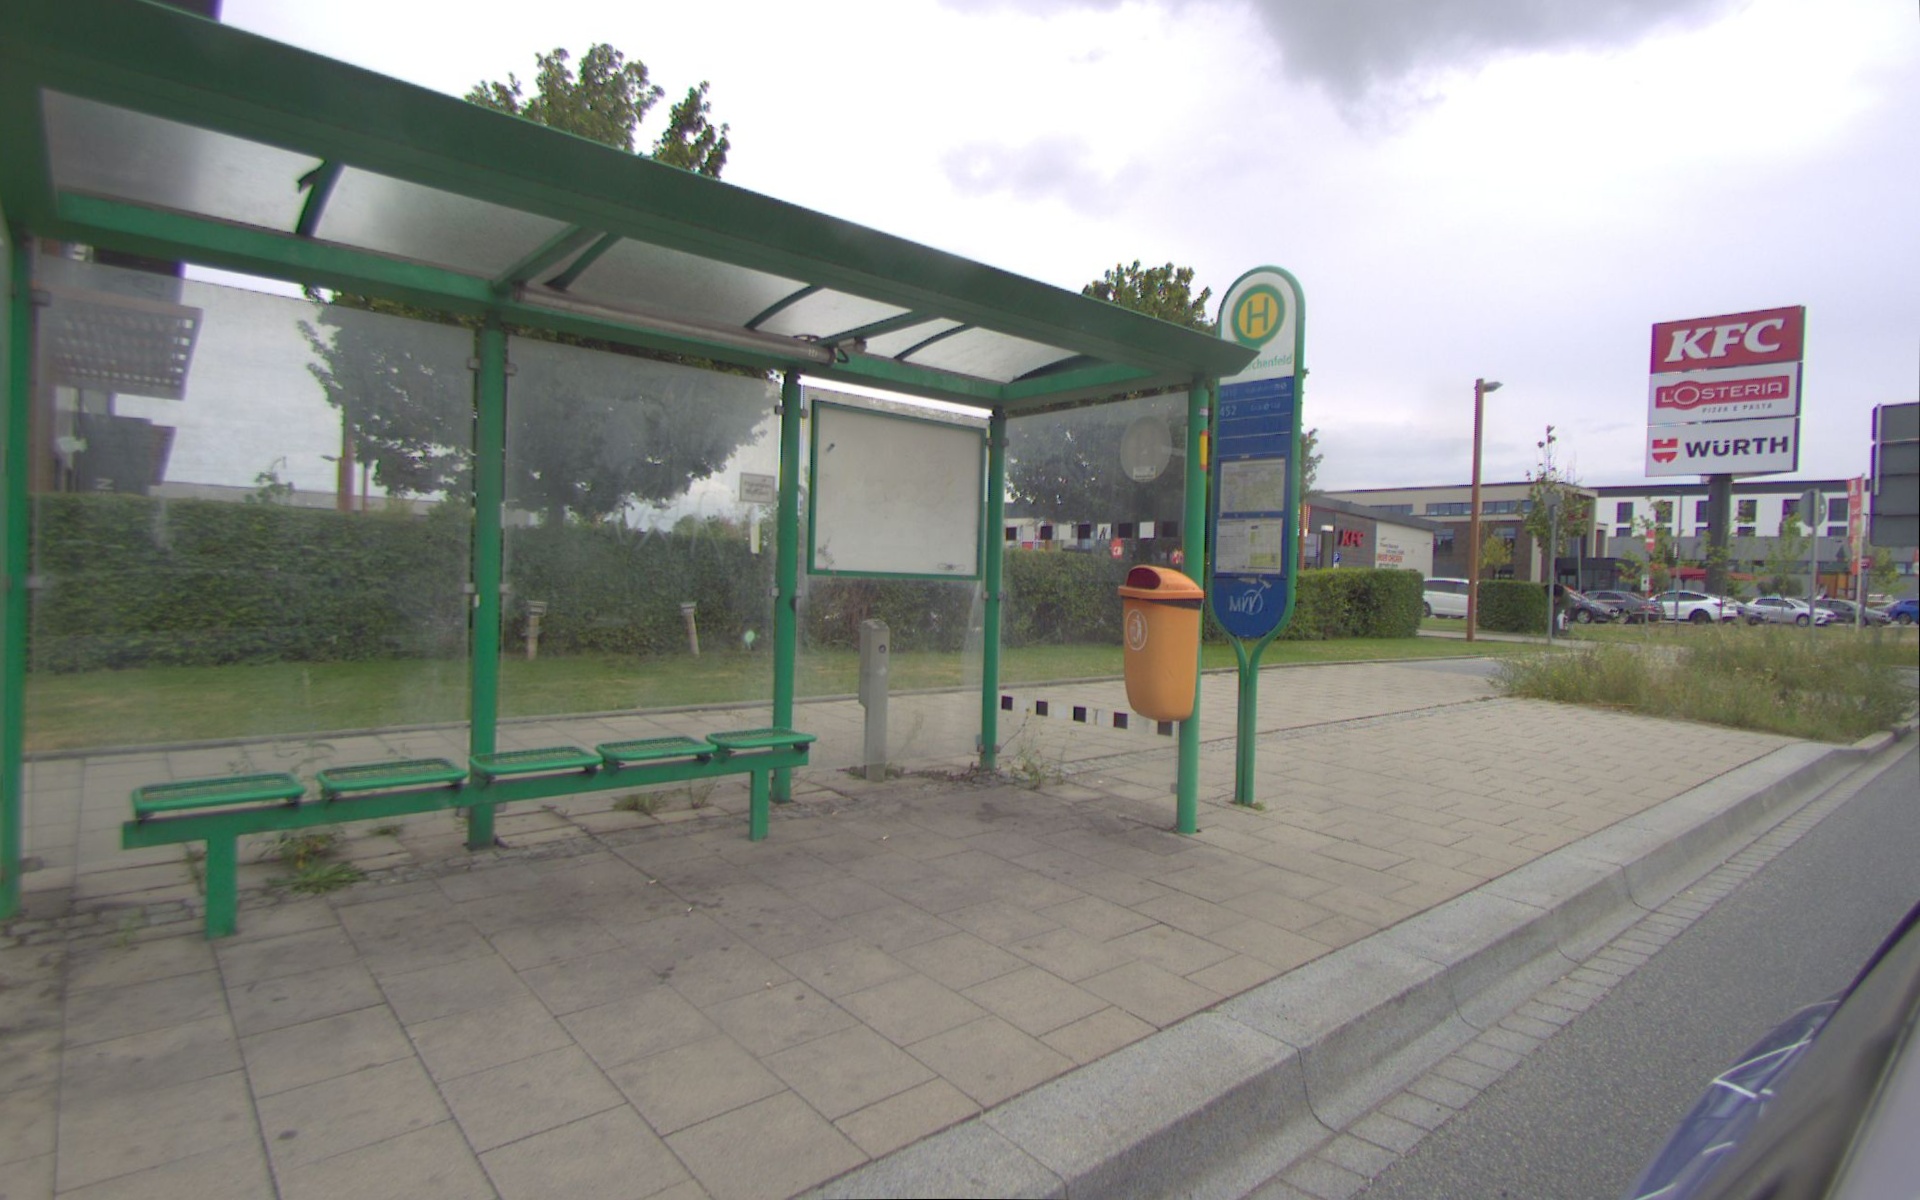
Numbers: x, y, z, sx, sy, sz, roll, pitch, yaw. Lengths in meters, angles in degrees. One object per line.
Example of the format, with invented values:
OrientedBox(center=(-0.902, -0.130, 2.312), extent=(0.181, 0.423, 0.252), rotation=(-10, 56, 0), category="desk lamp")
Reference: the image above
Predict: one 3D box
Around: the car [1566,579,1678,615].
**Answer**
OrientedBox(center=(30.985, -0.154, 47.446), extent=(1.811, 1.631, 4.003), rotation=(0, 0, -32), category="car")

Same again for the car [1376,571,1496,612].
OrientedBox(center=(19.307, -0.358, 41.180), extent=(1.814, 1.547, 3.997), rotation=(1, 2, -39), category="car")

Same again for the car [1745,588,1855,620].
OrientedBox(center=(43.710, 0.168, 52.737), extent=(1.809, 1.504, 4.007), rotation=(1, 1, -28), category="car")

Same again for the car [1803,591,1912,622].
OrientedBox(center=(48.150, 0.305, 54.381), extent=(1.809, 1.504, 4.007), rotation=(1, 1, -28), category="car")

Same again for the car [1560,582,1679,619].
OrientedBox(center=(29.051, -0.012, 44.692), extent=(1.811, 1.504, 4.004), rotation=(1, 1, -32), category="car")

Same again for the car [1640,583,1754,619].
OrientedBox(center=(35.032, 0.019, 48.206), extent=(1.811, 1.541, 4.004), rotation=(1, 1, -32), category="car")

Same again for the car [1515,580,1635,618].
OrientedBox(center=(26.427, -0.068, 43.592), extent=(1.811, 1.504, 4.004), rotation=(1, 1, -32), category="car")

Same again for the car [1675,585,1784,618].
OrientedBox(center=(38.997, 0.061, 51.348), extent=(1.811, 1.504, 4.003), rotation=(1, 1, -32), category="car")

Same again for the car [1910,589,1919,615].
OrientedBox(center=(57.174, 0.119, 57.702), extent=(1.809, 1.505, 4.007), rotation=(0, 0, -23), category="car")
